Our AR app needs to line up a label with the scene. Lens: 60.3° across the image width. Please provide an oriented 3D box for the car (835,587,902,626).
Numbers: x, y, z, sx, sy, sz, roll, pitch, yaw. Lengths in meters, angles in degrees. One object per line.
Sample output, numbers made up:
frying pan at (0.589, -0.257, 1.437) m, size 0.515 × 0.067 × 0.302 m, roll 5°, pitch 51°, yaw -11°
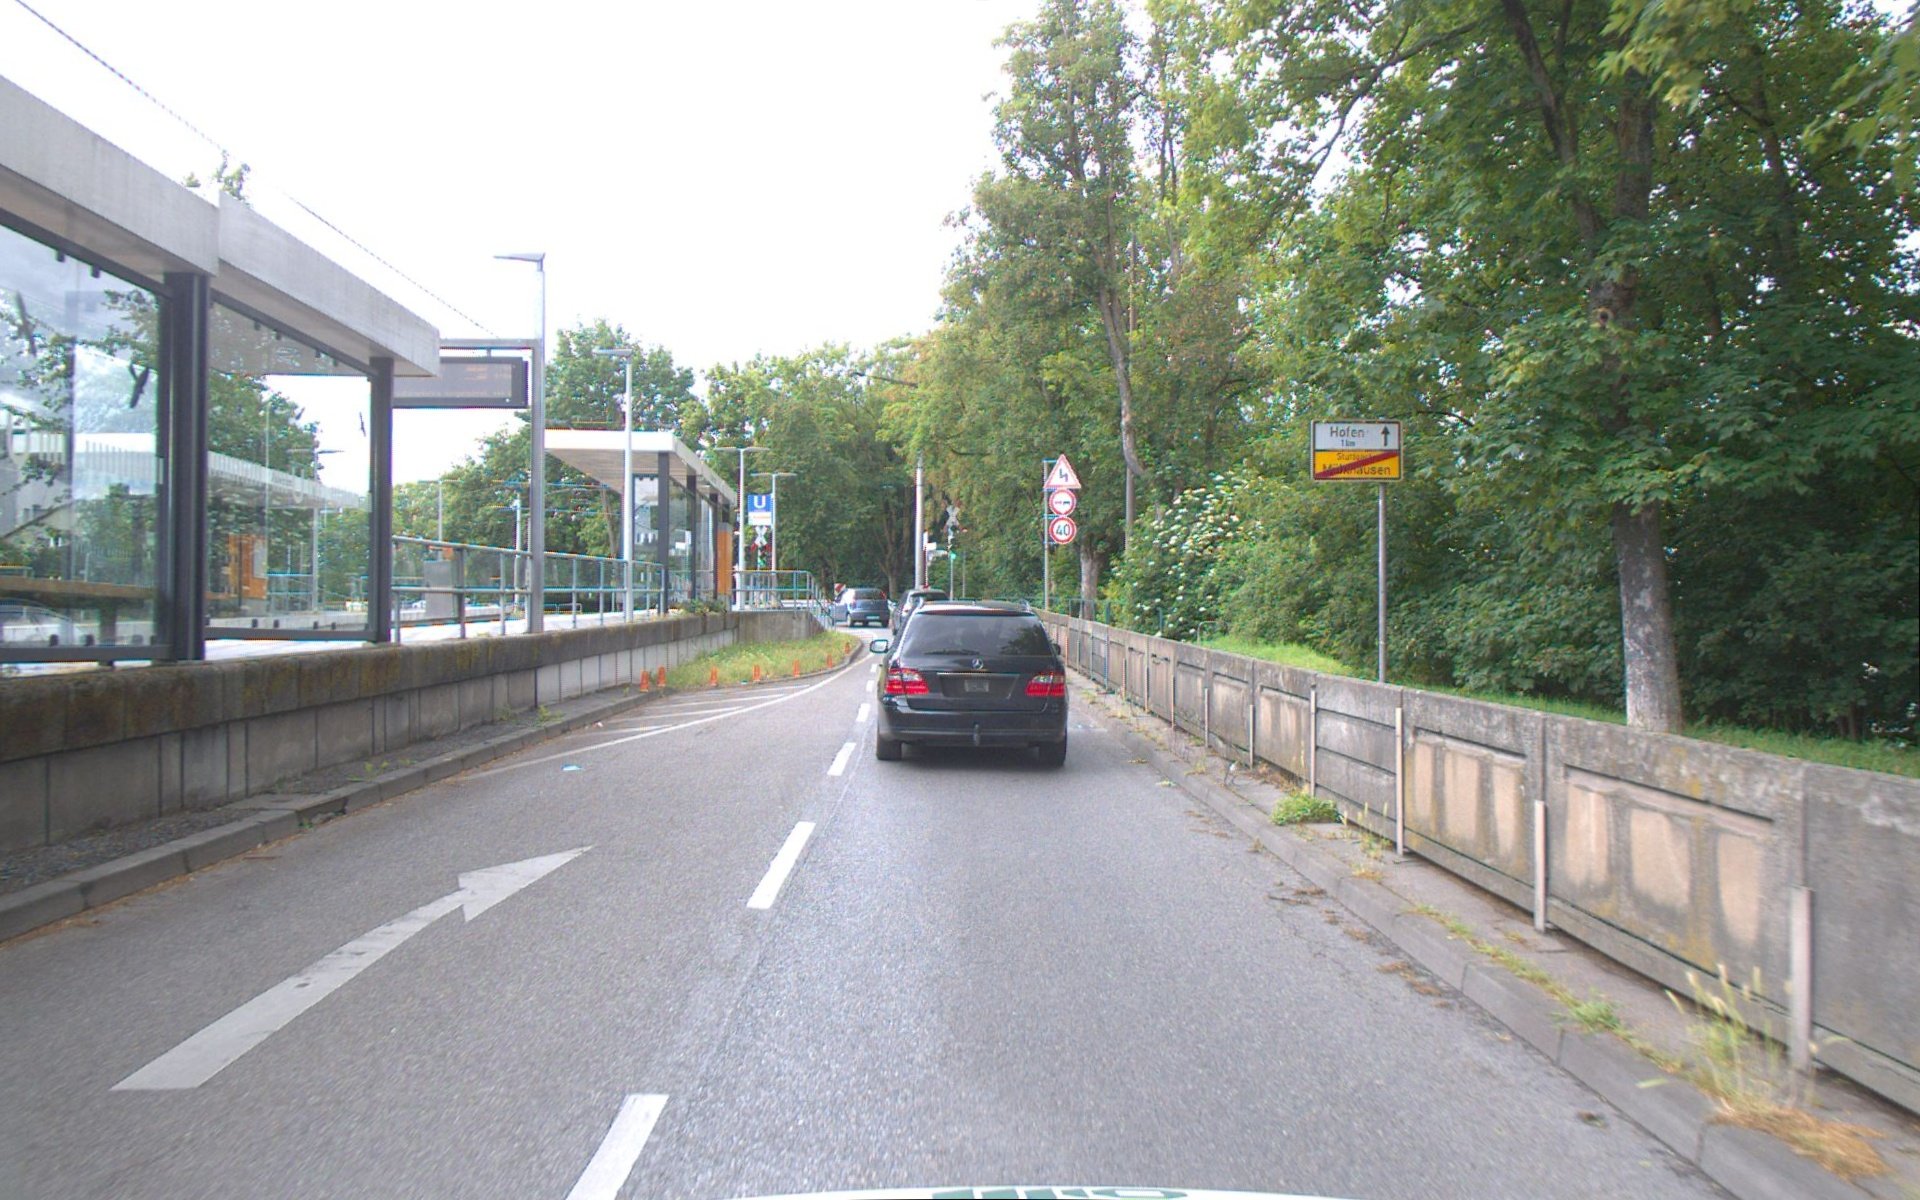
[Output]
car at (-3.552, 0.235, 63.733) m, size 1.959 × 1.423 × 3.987 m, roll 0°, pitch 0°, yaw -13°

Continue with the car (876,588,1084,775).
car at (0.142, 0.686, 16.198) m, size 1.745 × 1.552 × 3.999 m, roll 2°, pitch 0°, yaw -1°

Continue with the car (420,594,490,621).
car at (-27.689, 0.405, 90.638) m, size 3.929 × 1.423 × 1.988 m, roll 1°, pitch 1°, yaw 42°

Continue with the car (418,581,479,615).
car at (-28.163, -0.124, 91.077) m, size 3.328 × 1.736 × 1.605 m, roll 1°, pitch -2°, yaw 40°

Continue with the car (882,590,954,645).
car at (-1.395, 0.553, 53.604) m, size 1.749 × 1.677 × 3.990 m, roll 1°, pitch 0°, yaw -10°
